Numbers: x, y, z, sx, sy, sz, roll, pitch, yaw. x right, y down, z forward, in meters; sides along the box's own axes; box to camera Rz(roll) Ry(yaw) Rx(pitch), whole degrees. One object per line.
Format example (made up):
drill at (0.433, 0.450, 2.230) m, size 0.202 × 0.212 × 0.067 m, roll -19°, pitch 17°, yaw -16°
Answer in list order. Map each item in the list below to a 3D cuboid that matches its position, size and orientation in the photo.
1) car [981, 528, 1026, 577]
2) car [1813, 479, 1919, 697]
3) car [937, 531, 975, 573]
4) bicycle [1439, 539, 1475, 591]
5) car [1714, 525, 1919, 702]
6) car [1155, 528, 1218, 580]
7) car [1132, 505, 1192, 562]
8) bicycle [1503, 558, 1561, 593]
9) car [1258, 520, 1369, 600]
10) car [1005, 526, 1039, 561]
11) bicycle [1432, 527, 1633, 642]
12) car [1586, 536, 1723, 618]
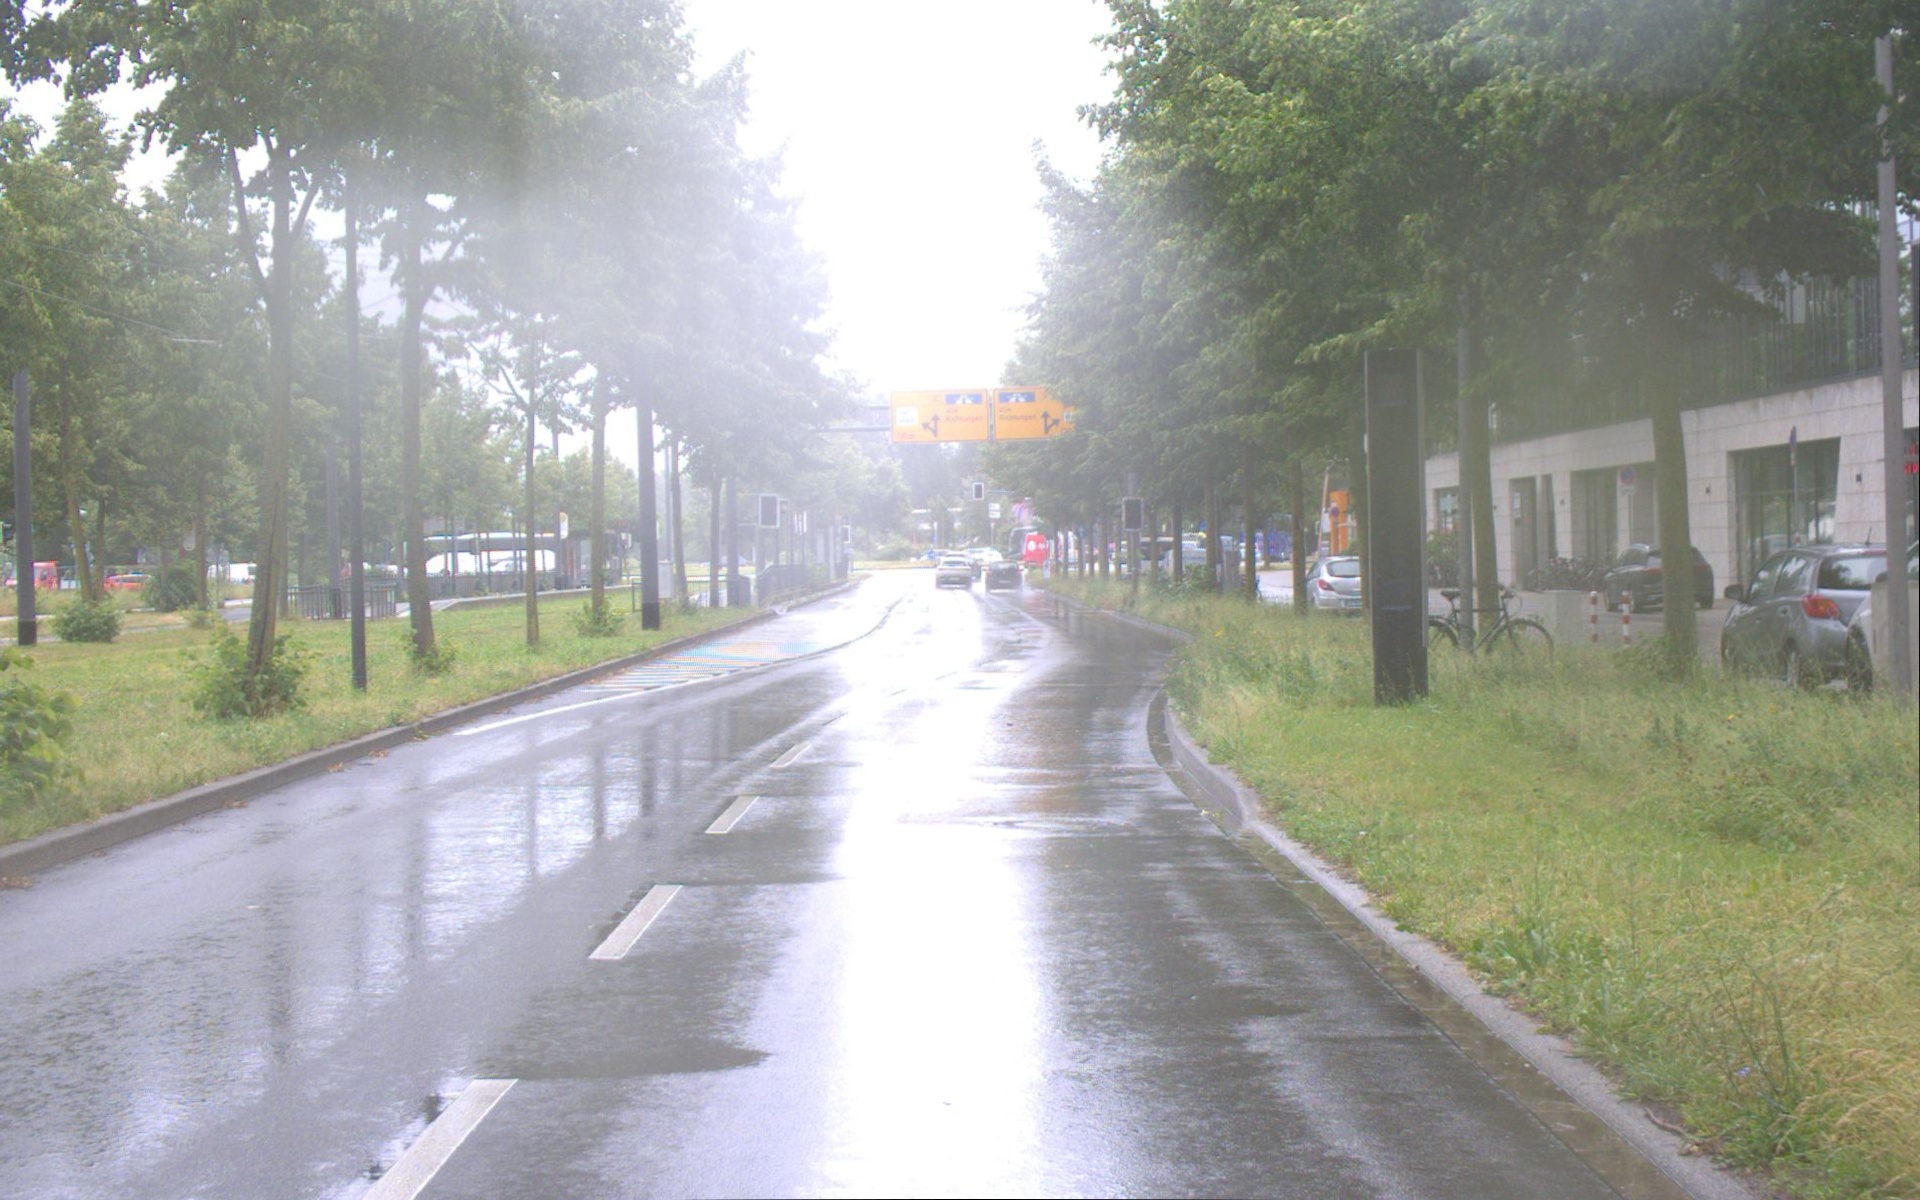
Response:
car at (1.910, -2.133, 153.464) m, size 1.940 × 2.006 × 4.001 m, roll -1°, pitch 3°, yaw 0°
car at (8.618, -0.125, 28.327) m, size 1.993 × 1.663 × 4.724 m, roll -1°, pitch 3°, yaw 0°
car at (-0.181, -2.477, 176.853) m, size 1.888 × 2.006 × 4.001 m, roll -1°, pitch 3°, yaw 0°
bicycle at (17.791, -1.257, 123.139) m, size 0.772 × 1.716 × 3.121 m, roll -1°, pitch 3°, yaw -1°
car at (8.515, 0.087, 33.286) m, size 1.625 × 1.485 × 3.656 m, roll -1°, pitch 3°, yaw 0°
car at (8.088, -1.653, 123.142) m, size 1.906 × 1.785 × 4.688 m, roll -1°, pitch 1°, yaw 0°
car at (8.297, -2.740, 141.677) m, size 2.121 × 2.266 × 4.565 m, roll -1°, pitch 1°, yaw 0°
bicycle at (17.553, -0.749, 105.512) m, size 1.694 × 1.025 × 0.423 m, roll -1°, pitch 0°, yaw 3°
car at (7.594, -0.893, 74.147) m, size 1.881 × 1.500 × 4.724 m, roll -1°, pitch 3°, yaw 0°
car at (3.800, -3.463, 210.344) m, size 1.993 × 2.006 × 4.001 m, roll -1°, pitch 3°, yaw 1°
bicycle at (6.072, -0.165, 36.524) m, size 2.035 × 1.192 × 0.491 m, roll -1°, pitch 0°, yaw 0°
car at (15.136, -0.531, 75.215) m, size 1.994 × 1.496 × 5.034 m, roll -5°, pitch 2°, yaw 2°
